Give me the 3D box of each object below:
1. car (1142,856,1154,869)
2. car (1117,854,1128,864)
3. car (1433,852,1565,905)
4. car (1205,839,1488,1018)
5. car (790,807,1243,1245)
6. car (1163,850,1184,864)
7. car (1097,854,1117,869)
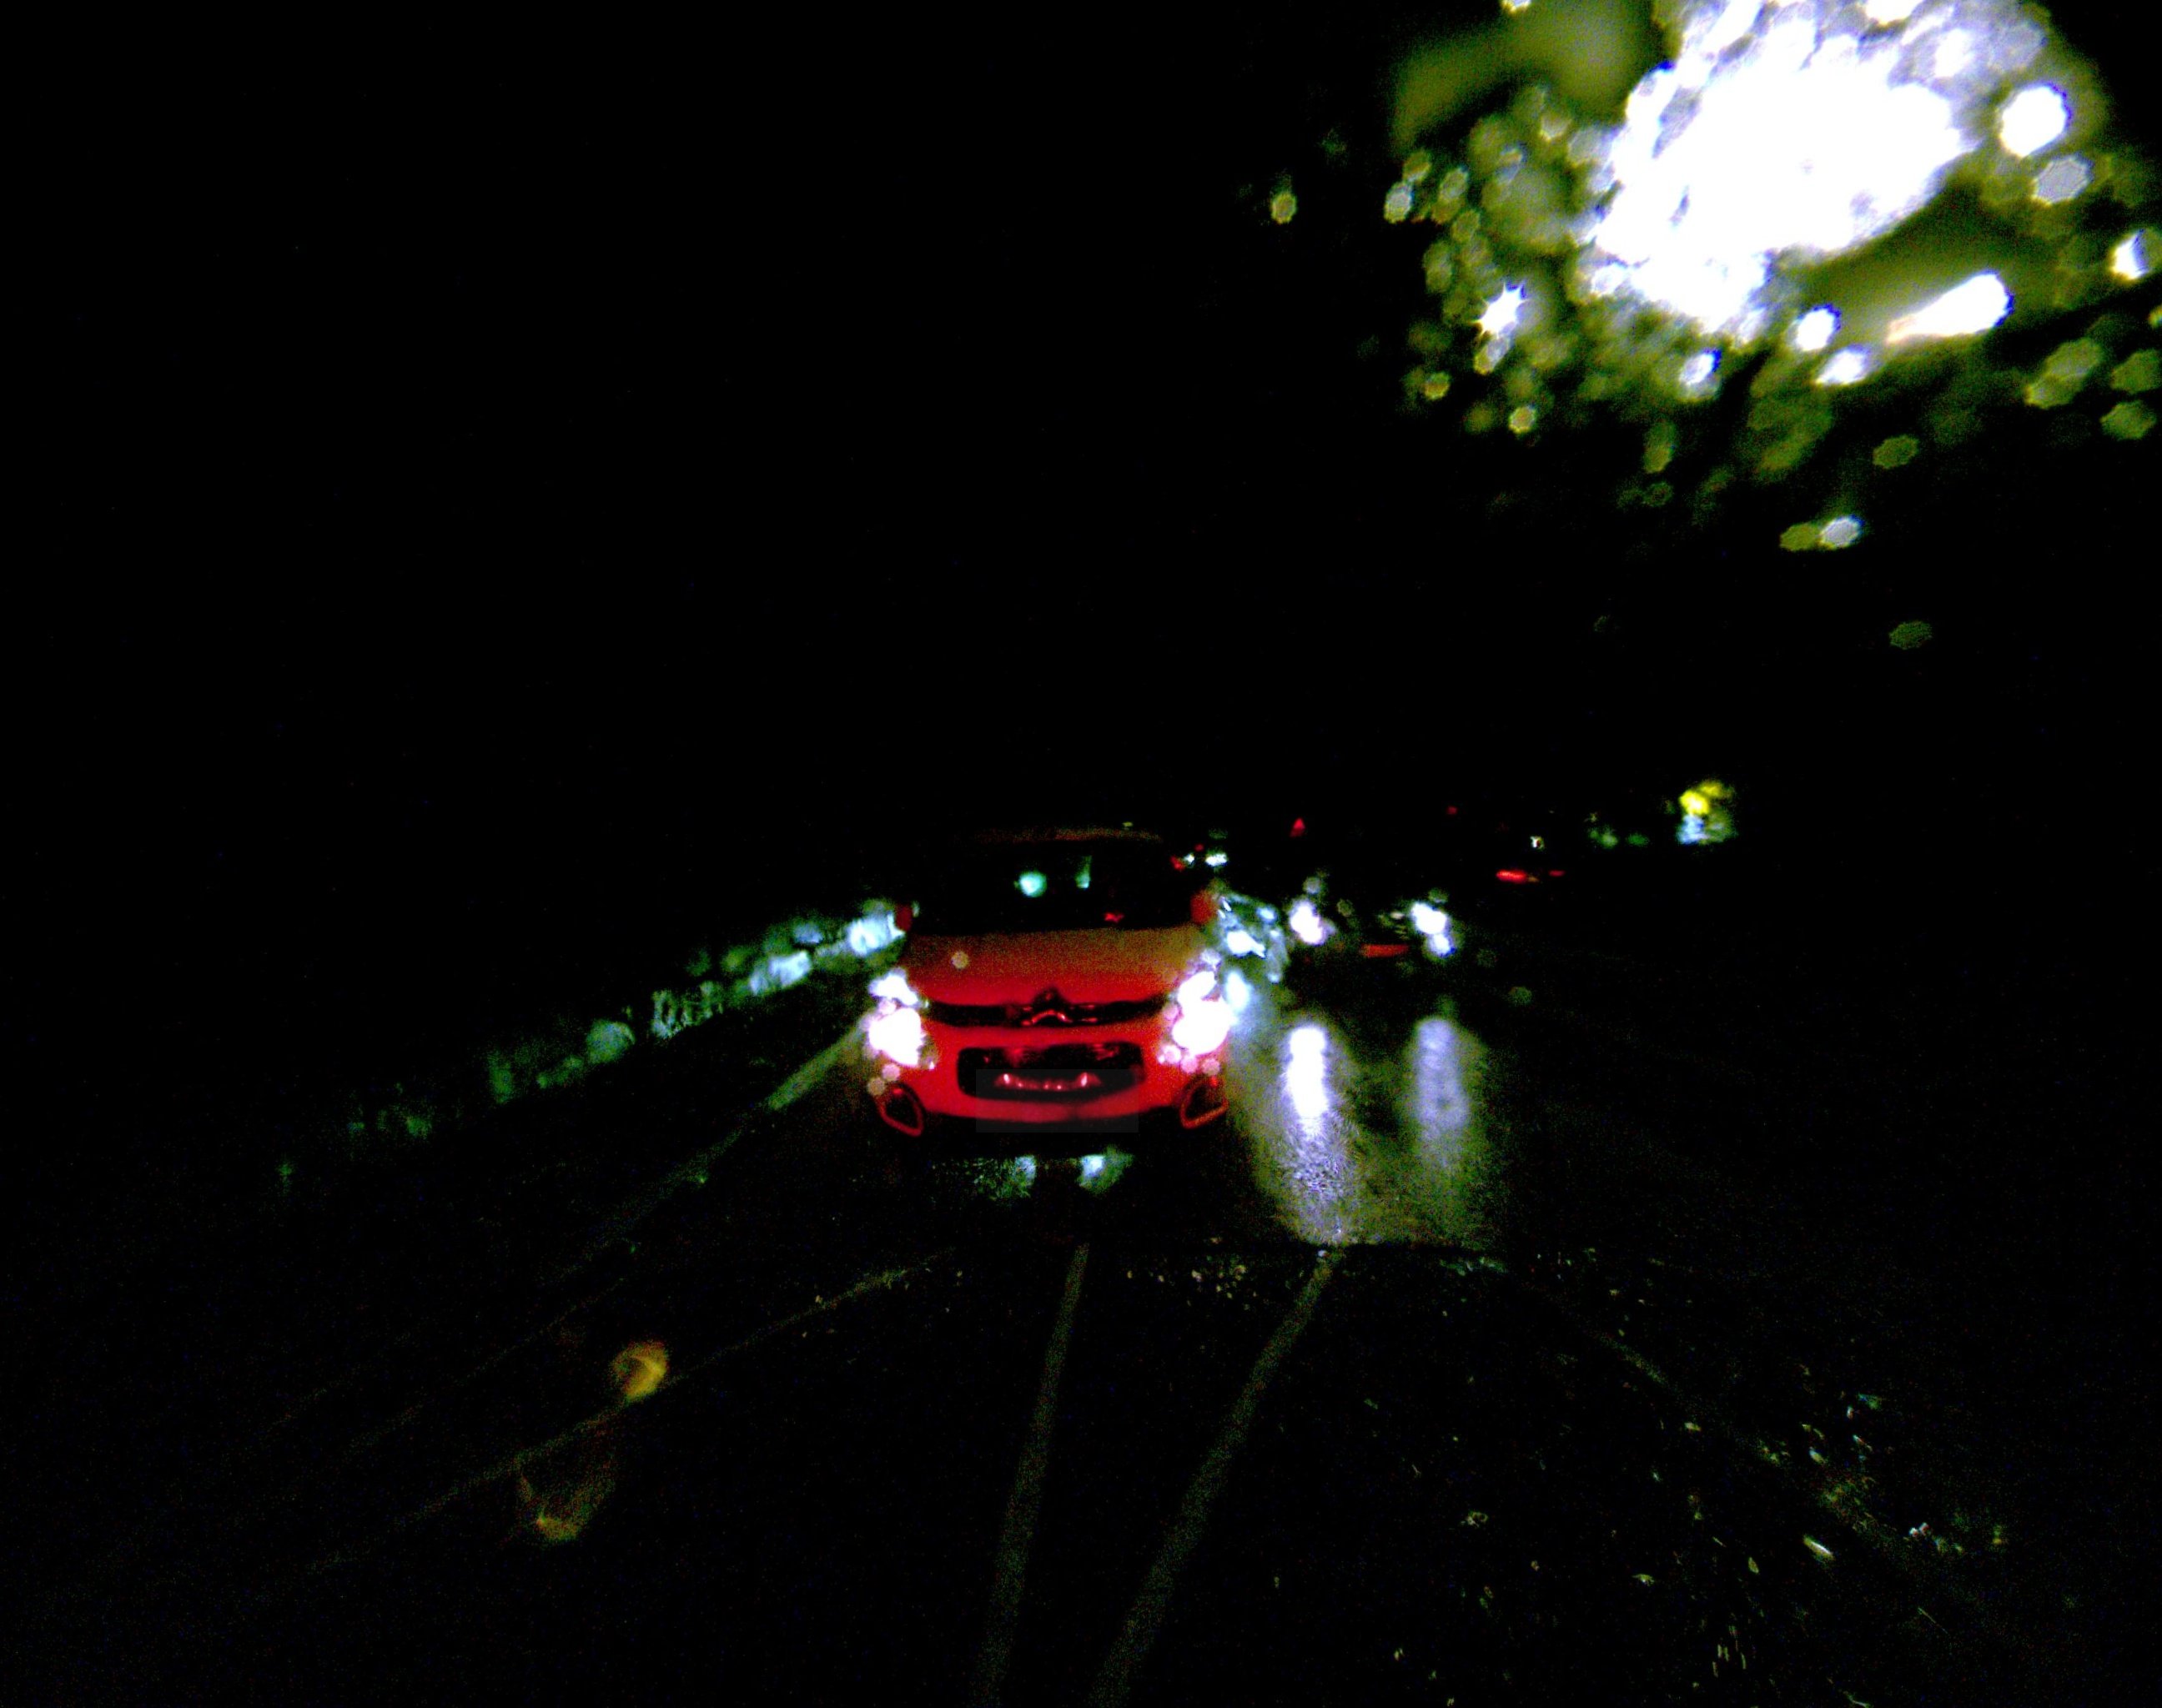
[{"bbox_3d":[11.903,1.477,134.878,1.997,2.002,4.001,-1,1,7],"label":"car"},{"bbox_3d":[8.142,0.950,147.840,1.998,2.002,4.002,-1,0,6],"label":"car"},{"bbox_3d":[13.196,0.722,24.339,1.658,1.490,4.373,1,0,-2],"label":"car"},{"bbox_3d":[2.976,0.717,9.829,1.914,1.694,4.938,-1,0,0],"label":"car"},{"bbox_3d":[-0.153,0.725,5.300,1.877,1.825,4.206,-1,0,4],"label":"car"},{"bbox_3d":[10.747,0.343,88.599,1.750,1.495,4.891,-1,1,-1],"label":"car"},{"bbox_3d":[2.870,0.781,84.286,1.999,1.456,3.999,-1,1,0],"label":"car"}]
